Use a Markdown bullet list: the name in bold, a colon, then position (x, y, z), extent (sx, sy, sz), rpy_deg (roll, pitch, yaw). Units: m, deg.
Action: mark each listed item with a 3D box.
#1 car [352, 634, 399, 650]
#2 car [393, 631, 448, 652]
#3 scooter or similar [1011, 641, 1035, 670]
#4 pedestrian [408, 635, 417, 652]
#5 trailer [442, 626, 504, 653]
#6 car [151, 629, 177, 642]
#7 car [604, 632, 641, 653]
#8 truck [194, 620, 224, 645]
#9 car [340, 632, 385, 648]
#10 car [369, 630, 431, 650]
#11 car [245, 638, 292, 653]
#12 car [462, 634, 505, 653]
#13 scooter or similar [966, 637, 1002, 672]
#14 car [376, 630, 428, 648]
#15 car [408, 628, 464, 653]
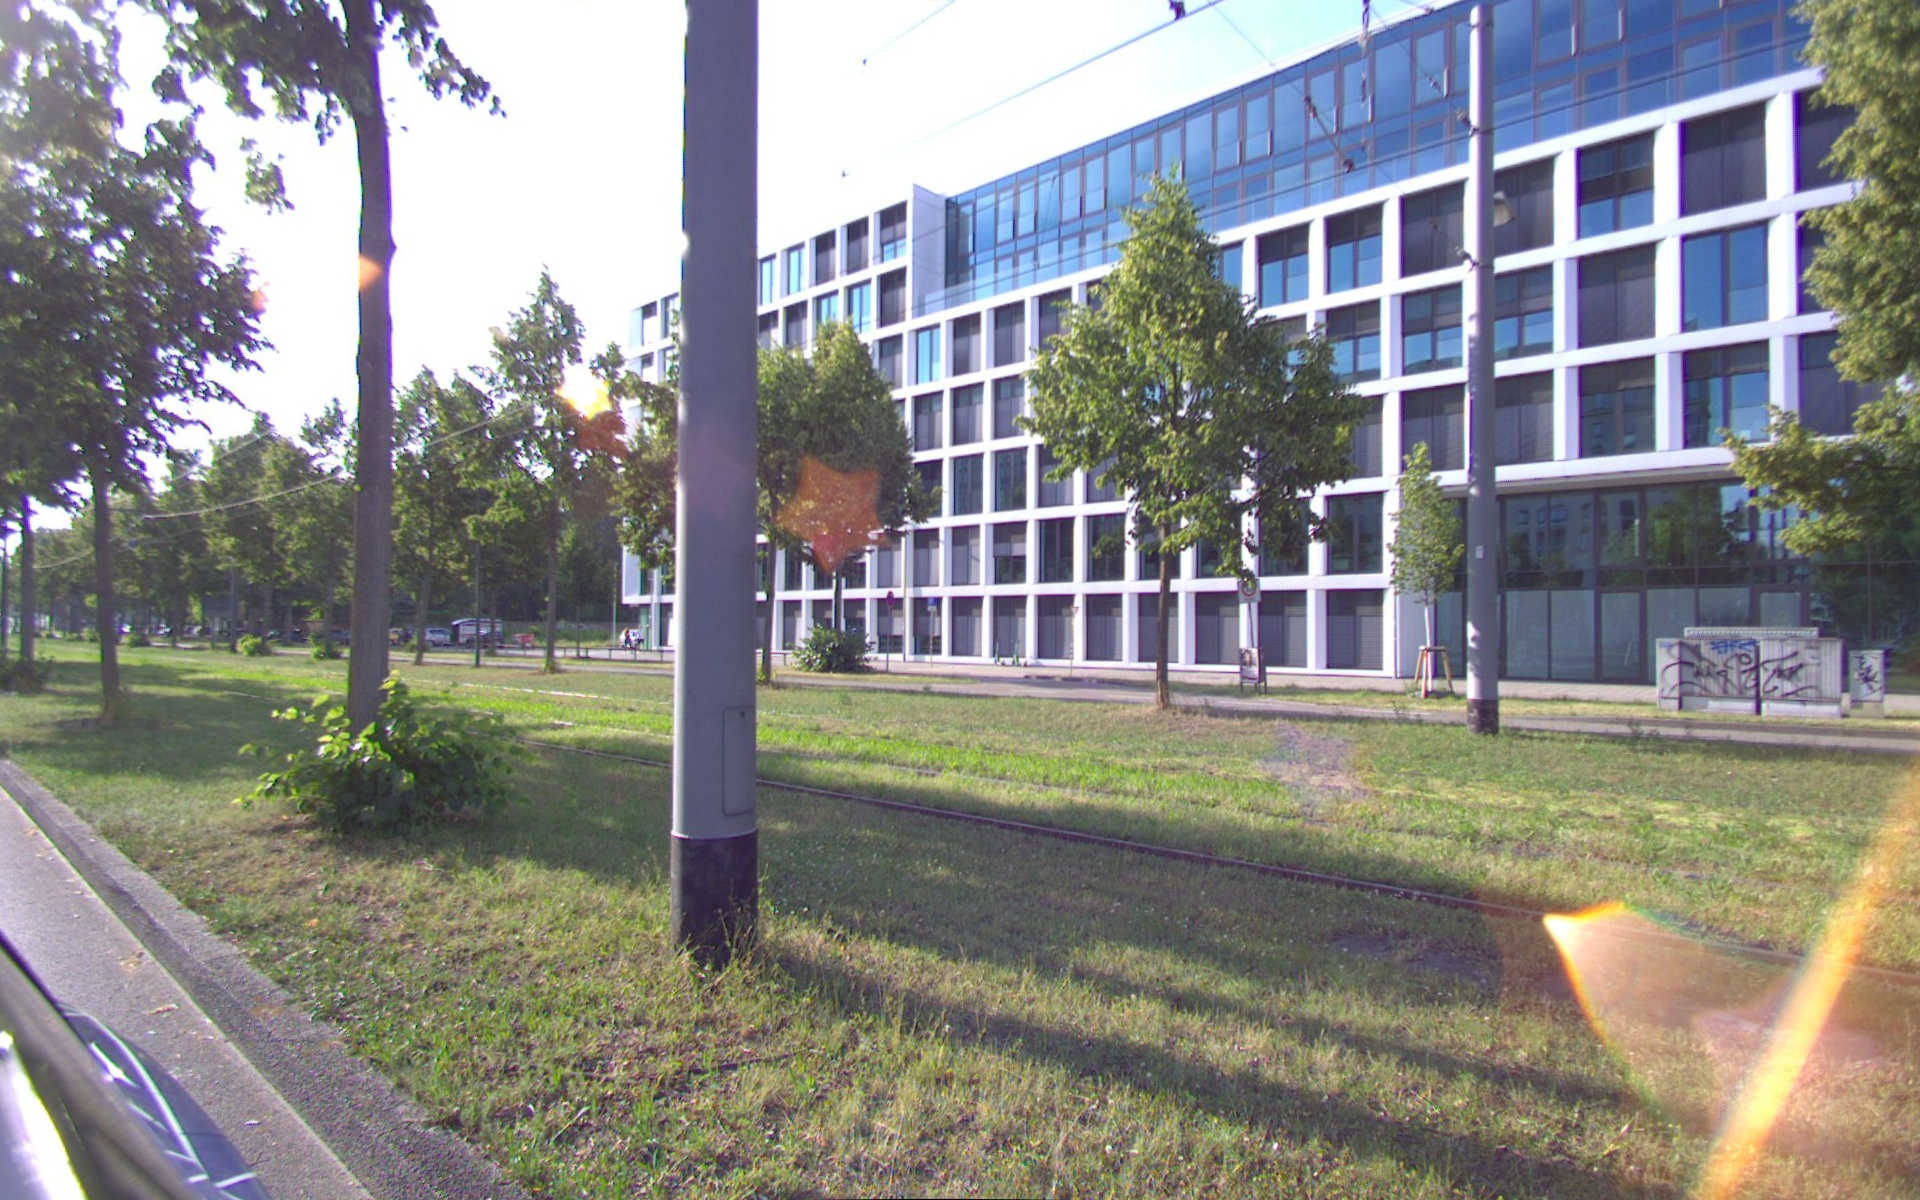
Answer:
- **car**: position (-57.227, 4.093, 99.066), extent (1.810, 1.439, 3.606), rpy_deg (-1, 0, 44)
- **car**: position (-48.136, 3.697, 90.371), extent (1.758, 1.655, 3.949), rpy_deg (-1, 0, 42)
- **scooter or similar**: position (2.838, 2.483, 45.344), extent (0.331, 1.235, 1.302), rpy_deg (-1, 0, -34)
- **pedestrian**: position (-47.105, 3.733, 87.070), extent (0.568, 1.491, 0.516), rpy_deg (-1, 0, 41)
- **trailer**: position (-40.867, 3.264, 84.969), extent (4.314, 2.069, 1.759), rpy_deg (-1, 0, -45)
- **car**: position (-97.274, 4.281, 123.628), extent (4.475, 1.442, 1.810), rpy_deg (-1, 0, 43)
- **car**: position (-28.733, 3.602, 86.139), extent (1.824, 1.608, 4.009), rpy_deg (-1, 0, -37)
- **truck**: position (-113.755, 4.840, 153.257), extent (2.854, 3.542, 7.952), rpy_deg (-1, 0, -43)
- **car**: position (-61.743, 4.134, 104.573), extent (3.810, 1.497, 1.746), rpy_deg (-1, 0, -40)
- **car**: position (-54.217, 3.819, 98.039), extent (1.886, 1.748, 5.003), rpy_deg (-1, 0, 44)
- **car**: position (-69.866, 4.617, 102.235), extent (3.993, 1.446, 1.681), rpy_deg (-1, 0, 12)
- **car**: position (-38.543, 3.477, 81.834), extent (3.758, 1.404, 1.663), rpy_deg (-1, 0, 39)
- **scooter or similar**: position (1.103, 2.468, 46.362), extent (1.906, 1.488, 0.415), rpy_deg (-1, 0, -44)
- **car**: position (-52.905, 3.701, 95.962), extent (1.857, 1.572, 3.942), rpy_deg (-1, 0, 44)
- **car**: position (-45.745, 3.515, 88.410), extent (1.758, 1.962, 3.949), rpy_deg (-1, 0, 42)
